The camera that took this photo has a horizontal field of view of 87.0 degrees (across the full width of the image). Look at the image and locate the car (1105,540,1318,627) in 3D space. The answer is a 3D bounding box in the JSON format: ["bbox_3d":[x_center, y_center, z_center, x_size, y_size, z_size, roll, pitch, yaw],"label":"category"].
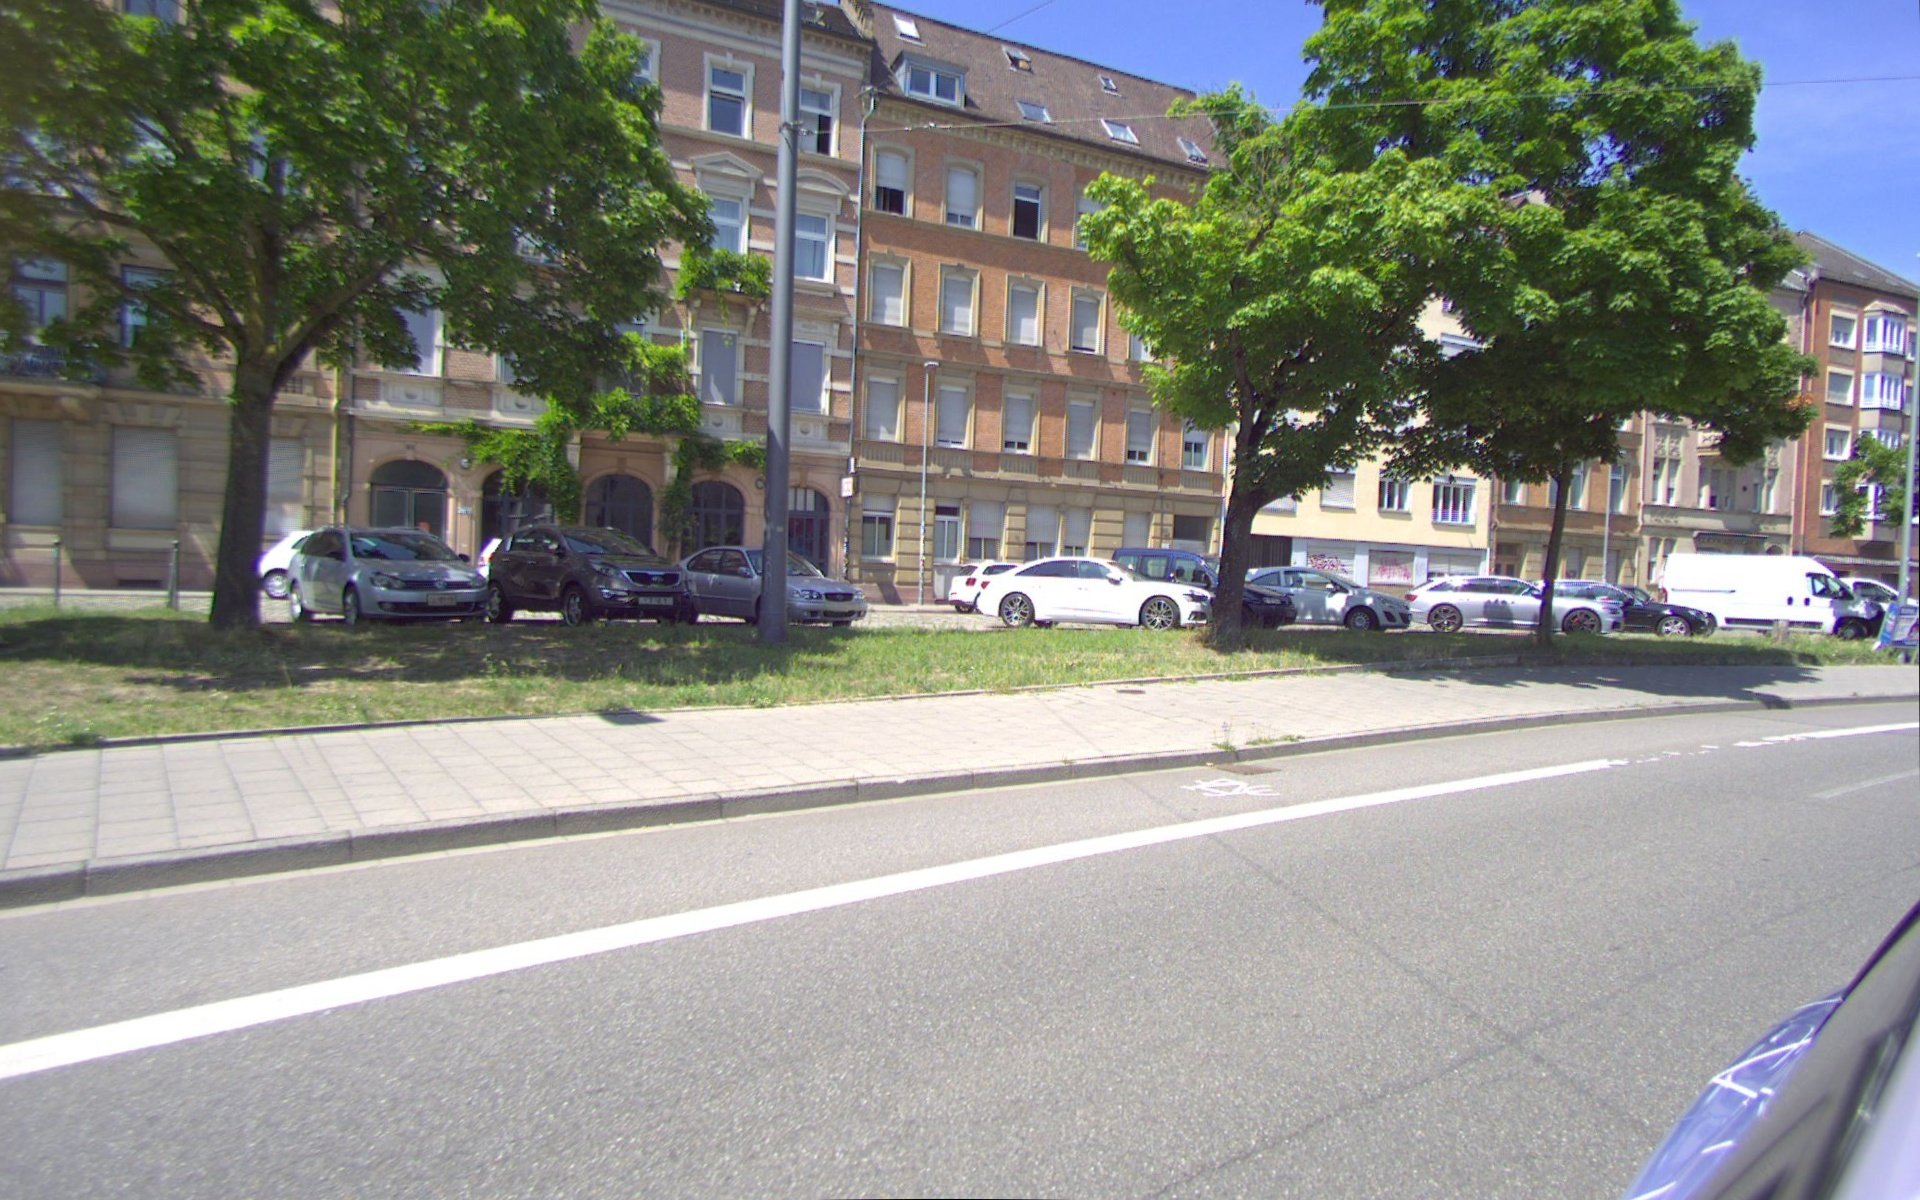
[{"bbox_3d":[5.304,-0.373,21.608,3.985,1.683,1.942,2,1,42],"label":"car"}]

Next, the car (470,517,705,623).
[{"bbox_3d":[-6.041,-0.476,16.185,4.075,1.488,1.771,2,1,41],"label":"car"}]

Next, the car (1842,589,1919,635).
[{"bbox_3d":[30.342,0.402,31.641,1.793,1.404,3.992,1,1,-43],"label":"car"}]

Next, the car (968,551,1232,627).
[{"bbox_3d":[2.750,-0.249,19.992,4.741,1.330,2.130,2,1,27],"label":"car"}]

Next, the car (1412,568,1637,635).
[{"bbox_3d":[13.771,-0.004,24.894,4.656,1.445,1.950,2,1,32],"label":"car"}]

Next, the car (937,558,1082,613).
[{"bbox_3d":[1.388,-0.398,28.564,3.638,1.438,1.788,1,1,-23],"label":"car"}]

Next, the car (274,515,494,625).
[{"bbox_3d":[-8.573,-0.441,14.894,4.332,1.393,1.558,2,1,42],"label":"car"}]

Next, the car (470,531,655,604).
[{"bbox_3d":[-9.399,-0.731,24.004,3.917,1.549,1.846,1,1,-24],"label":"car"}]

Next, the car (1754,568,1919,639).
[{"bbox_3d":[27.224,0.094,30.746,4.825,1.998,2.047,2,1,39],"label":"car"}]

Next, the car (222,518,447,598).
[{"bbox_3d":[-13.646,-0.884,22.356,3.916,1.549,1.846,1,1,-21],"label":"car"}]

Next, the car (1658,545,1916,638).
[{"bbox_3d":[23.871,-0.308,29.590,5.509,2.491,2.213,2,1,32],"label":"car"}]

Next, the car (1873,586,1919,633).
[{"bbox_3d":[32.938,0.349,33.025,4.619,1.515,1.934,2,1,44],"label":"car"}]

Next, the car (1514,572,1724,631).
[{"bbox_3d":[16.916,0.013,26.253,4.397,1.355,1.950,2,1,32],"label":"car"}]

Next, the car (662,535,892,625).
[{"bbox_3d":[-3.169,-0.337,17.067,1.939,1.330,3.991,1,1,-44],"label":"car"}]

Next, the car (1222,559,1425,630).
[{"bbox_3d":[8.023,-0.152,22.446,3.970,1.417,1.693,2,1,32],"label":"car"}]

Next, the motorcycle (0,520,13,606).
[{"bbox_3d":[-14.291,-0.524,13.888,0.796,1.251,2.088,1,1,-7],"label":"motorcycle"}]

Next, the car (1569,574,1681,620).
[{"bbox_3d":[26.079,-0.109,39.692,3.916,1.705,1.828,1,1,-24],"label":"car"}]
